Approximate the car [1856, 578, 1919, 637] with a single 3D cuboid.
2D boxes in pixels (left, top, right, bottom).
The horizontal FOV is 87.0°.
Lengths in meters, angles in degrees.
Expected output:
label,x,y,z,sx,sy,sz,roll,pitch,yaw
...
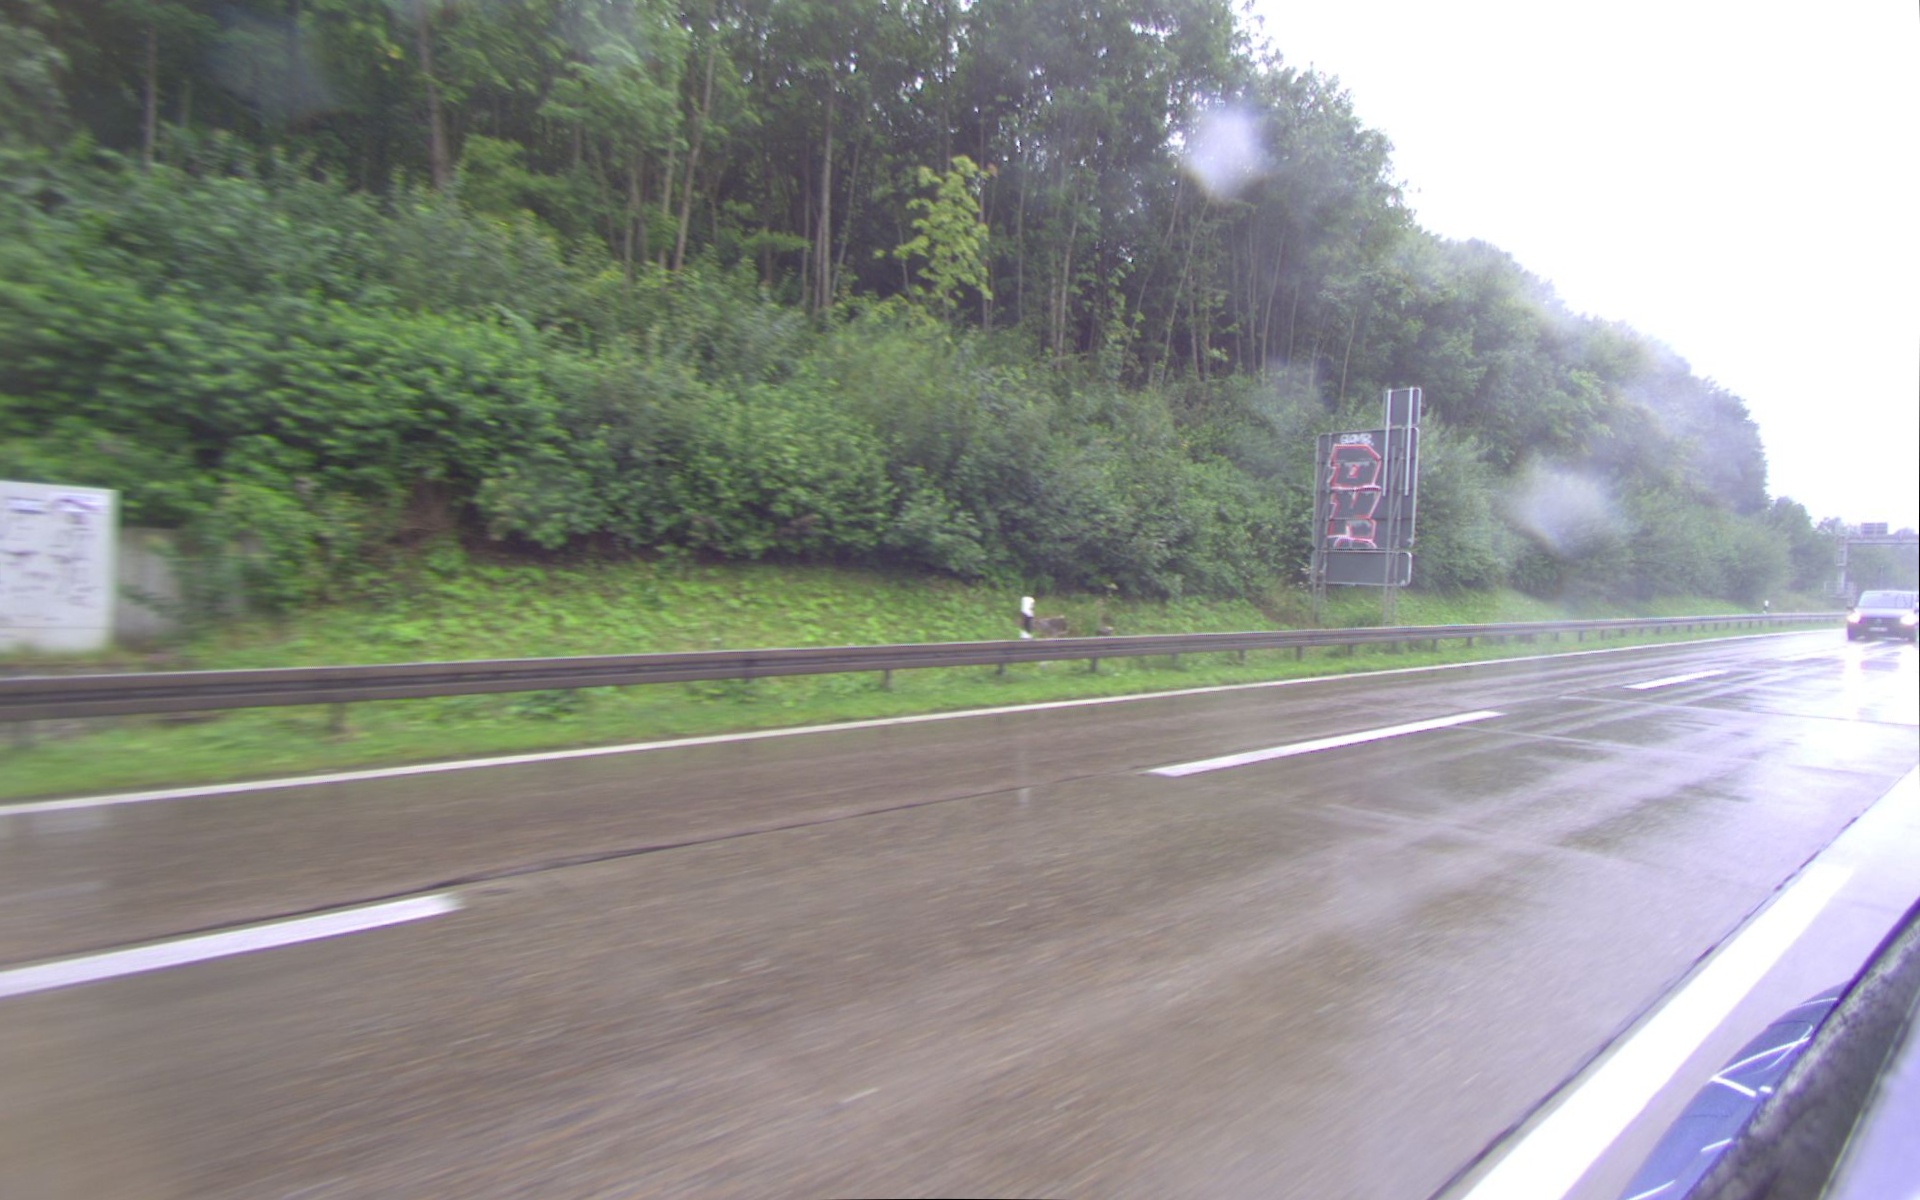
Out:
label,x,y,z,sx,sy,sz,roll,pitch,yaw
car,34.459,0.242,37.011,3.927,2.039,1.859,0,1,-38
